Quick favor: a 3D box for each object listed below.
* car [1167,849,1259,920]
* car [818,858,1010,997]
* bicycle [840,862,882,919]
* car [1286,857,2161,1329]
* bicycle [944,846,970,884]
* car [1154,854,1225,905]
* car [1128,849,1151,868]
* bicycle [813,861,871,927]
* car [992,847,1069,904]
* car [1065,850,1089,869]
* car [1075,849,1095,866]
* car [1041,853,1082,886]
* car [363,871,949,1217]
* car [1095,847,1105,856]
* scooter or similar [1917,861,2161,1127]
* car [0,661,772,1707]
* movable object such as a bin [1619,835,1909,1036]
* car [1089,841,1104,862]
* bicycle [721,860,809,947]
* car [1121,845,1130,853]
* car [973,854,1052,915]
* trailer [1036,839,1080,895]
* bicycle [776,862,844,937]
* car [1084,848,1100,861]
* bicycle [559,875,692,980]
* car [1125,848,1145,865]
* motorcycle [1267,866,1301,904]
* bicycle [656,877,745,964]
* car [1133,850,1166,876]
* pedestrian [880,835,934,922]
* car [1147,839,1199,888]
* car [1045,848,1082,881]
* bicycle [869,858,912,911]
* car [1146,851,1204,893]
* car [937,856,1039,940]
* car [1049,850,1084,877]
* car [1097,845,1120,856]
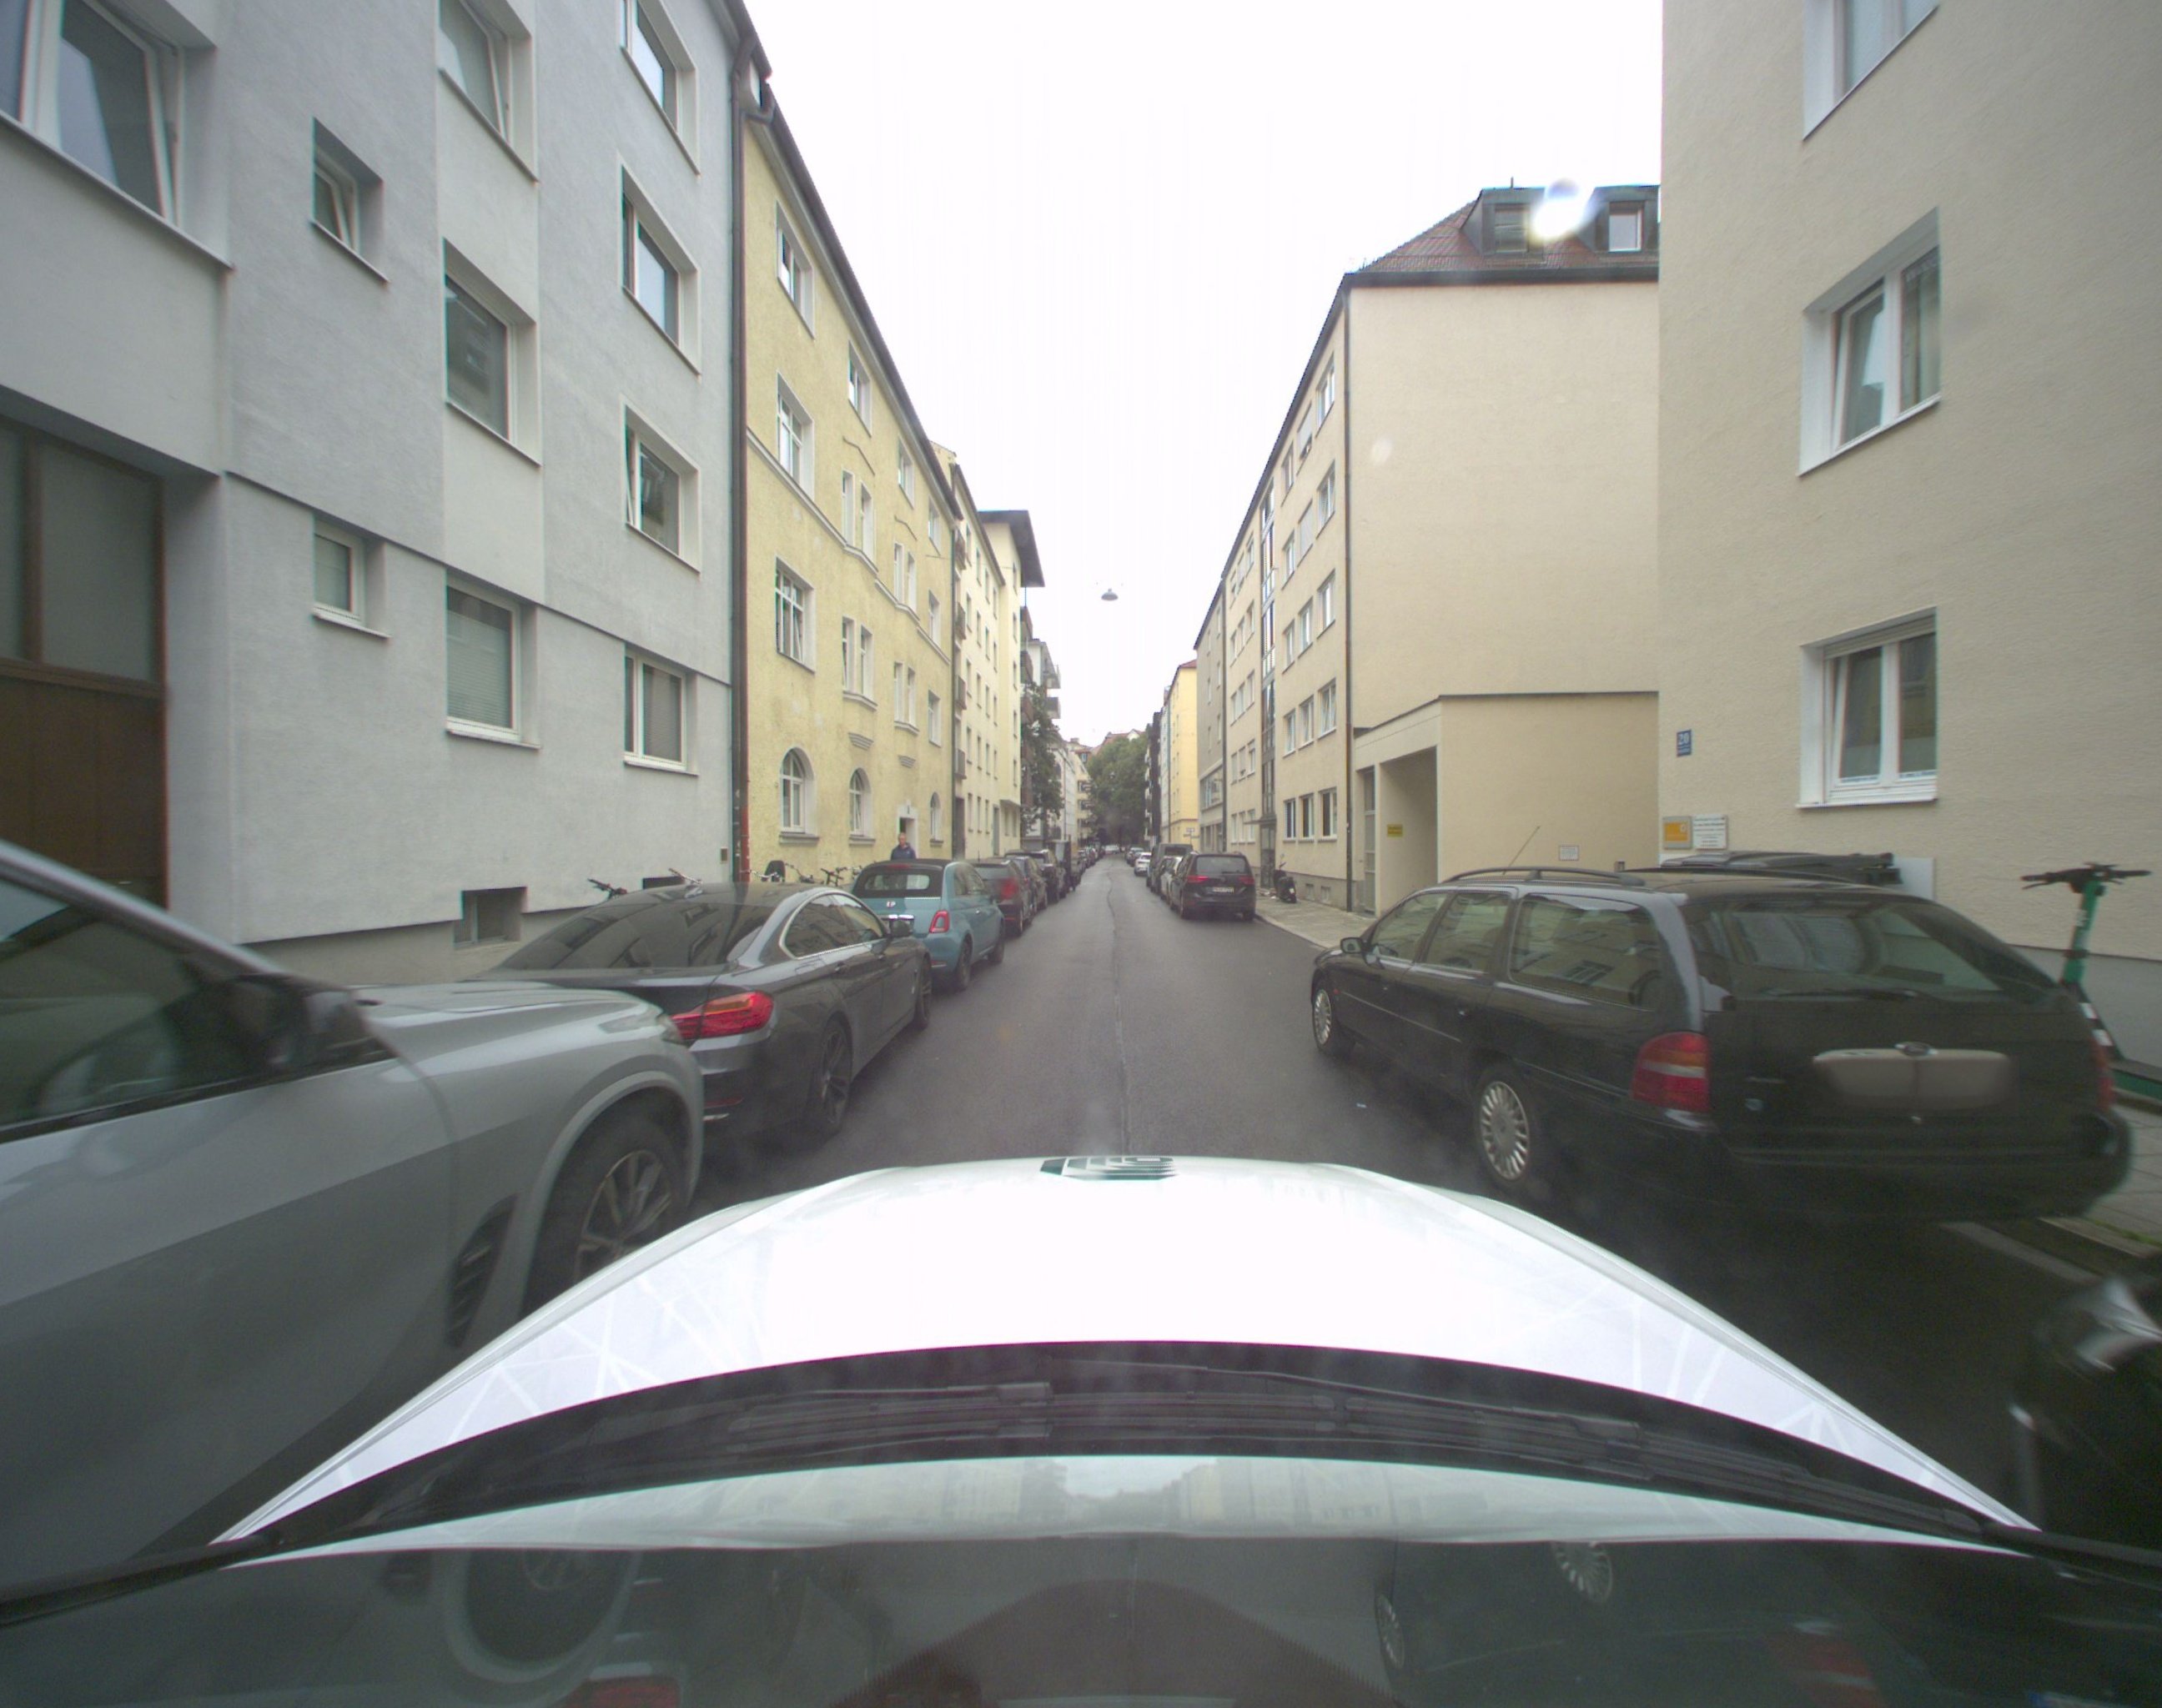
[{"bbox_3d":[3.279,0.705,20.985,1.706,1.608,4.244,1,0,1],"label":"car"},{"bbox_3d":[-1.965,0.812,10.542,1.556,1.460,3.407,-1,0,4],"label":"car"},{"bbox_3d":[-4.848,0.774,18.060,0.437,1.190,1.633,0,0,1],"label":"bicycle"},{"bbox_3d":[2.679,0.771,4.853,1.712,1.471,4.530,1,0,-1],"label":"car"},{"bbox_3d":[-4.369,0.367,28.699,0.592,1.278,1.552,2,0,1],"label":"bicycle"},{"bbox_3d":[3.425,0.763,26.371,1.706,1.486,4.243,1,0,0],"label":"car"},{"bbox_3d":[5.087,0.363,71.224,1.744,1.469,4.345,2,1,2],"label":"car"},{"bbox_3d":[-4.760,0.771,16.306,0.591,1.234,1.737,0,0,1],"label":"bicycle"},{"bbox_3d":[-1.520,0.626,25.989,1.871,1.660,4.419,-1,0,4],"label":"car"},{"bbox_3d":[-0.319,0.407,66.126,1.686,1.442,3.945,-1,1,3],"label":"car"},{"bbox_3d":[0.382,0.307,73.985,1.687,1.442,3.978,-1,1,1],"label":"car"},{"bbox_3d":[-0.869,0.688,38.585,1.645,1.435,3.805,-1,0,2],"label":"car"},{"bbox_3d":[-2.234,0.889,5.747,1.805,1.386,4.251,-2,0,1],"label":"car"},{"bbox_3d":[3.081,-0.462,131.451,1.636,1.383,3.484,-3,0,2],"label":"car"},{"bbox_3d":[5.528,0.683,4.524,0.574,1.266,1.137,-2,0,2],"label":"scooter or similar"},{"bbox_3d":[-2.266,0.674,1.003,1.856,1.769,4.736,-2,1,0],"label":"car"},{"bbox_3d":[5.462,0.592,6.680,1.028,1.423,1.587,-2,0,2],"label":"movable object such as a bin"},{"bbox_3d":[2.143,-0.359,112.835,1.929,2.801,4.535,-3,0,2],"label":"car"},{"bbox_3d":[-4.875,0.725,12.684,0.634,1.234,1.737,0,0,2],"label":"bicycle"},{"bbox_3d":[8.596,-0.956,158.258,1.636,1.383,3.747,-3,0,2],"label":"car"},{"bbox_3d":[-1.739,0.747,21.541,1.556,1.460,3.479,-1,0,4],"label":"car"},{"bbox_3d":[-0.859,0.462,32.391,1.349,2.115,3.322,0,0,5],"label":"trailer"},{"bbox_3d":[-4.781,0.766,14.478,0.591,1.234,1.737,0,0,1],"label":"bicycle"},{"bbox_3d":[1.348,0.066,98.209,1.770,1.452,4.048,-3,0,2],"label":"car"},{"bbox_3d":[-5.021,0.773,9.093,0.543,1.031,1.571,0,0,2],"label":"bicycle"},{"bbox_3d":[5.359,0.239,81.187,1.676,1.567,4.416,2,1,1],"label":"car"},{"bbox_3d":[5.819,0.874,23.393,0.480,0.967,1.912,-4,0,1],"label":"motorcycle"},{"bbox_3d":[-5.031,0.840,10.868,0.394,1.031,1.571,0,0,2],"label":"bicycle"},{"bbox_3d":[4.268,0.538,51.130,1.812,1.408,3.954,1,3,1],"label":"car"},{"bbox_3d":[-3.630,0.492,17.065,0.836,1.764,1.068,1,0,2],"label":"pedestrian"},{"bbox_3d":[4.022,0.370,36.146,1.745,1.975,4.343,2,1,0],"label":"car"},{"bbox_3d":[-0.905,0.540,43.863,1.759,1.675,4.369,-1,0,1],"label":"car"},{"bbox_3d":[-4.613,0.710,19.842,0.591,1.234,1.737,0,0,1],"label":"bicycle"},{"bbox_3d":[3.552,0.657,31.427,1.706,1.486,4.243,1,0,0],"label":"car"},{"bbox_3d":[-1.775,0.796,16.553,1.557,1.460,3.764,-1,0,1],"label":"car"},{"bbox_3d":[-0.815,0.544,49.428,1.758,1.483,4.428,-1,1,3],"label":"car"},{"bbox_3d":[4.811,-0.617,141.359,3.872,1.584,1.648,-3,0,1],"label":"car"}]
